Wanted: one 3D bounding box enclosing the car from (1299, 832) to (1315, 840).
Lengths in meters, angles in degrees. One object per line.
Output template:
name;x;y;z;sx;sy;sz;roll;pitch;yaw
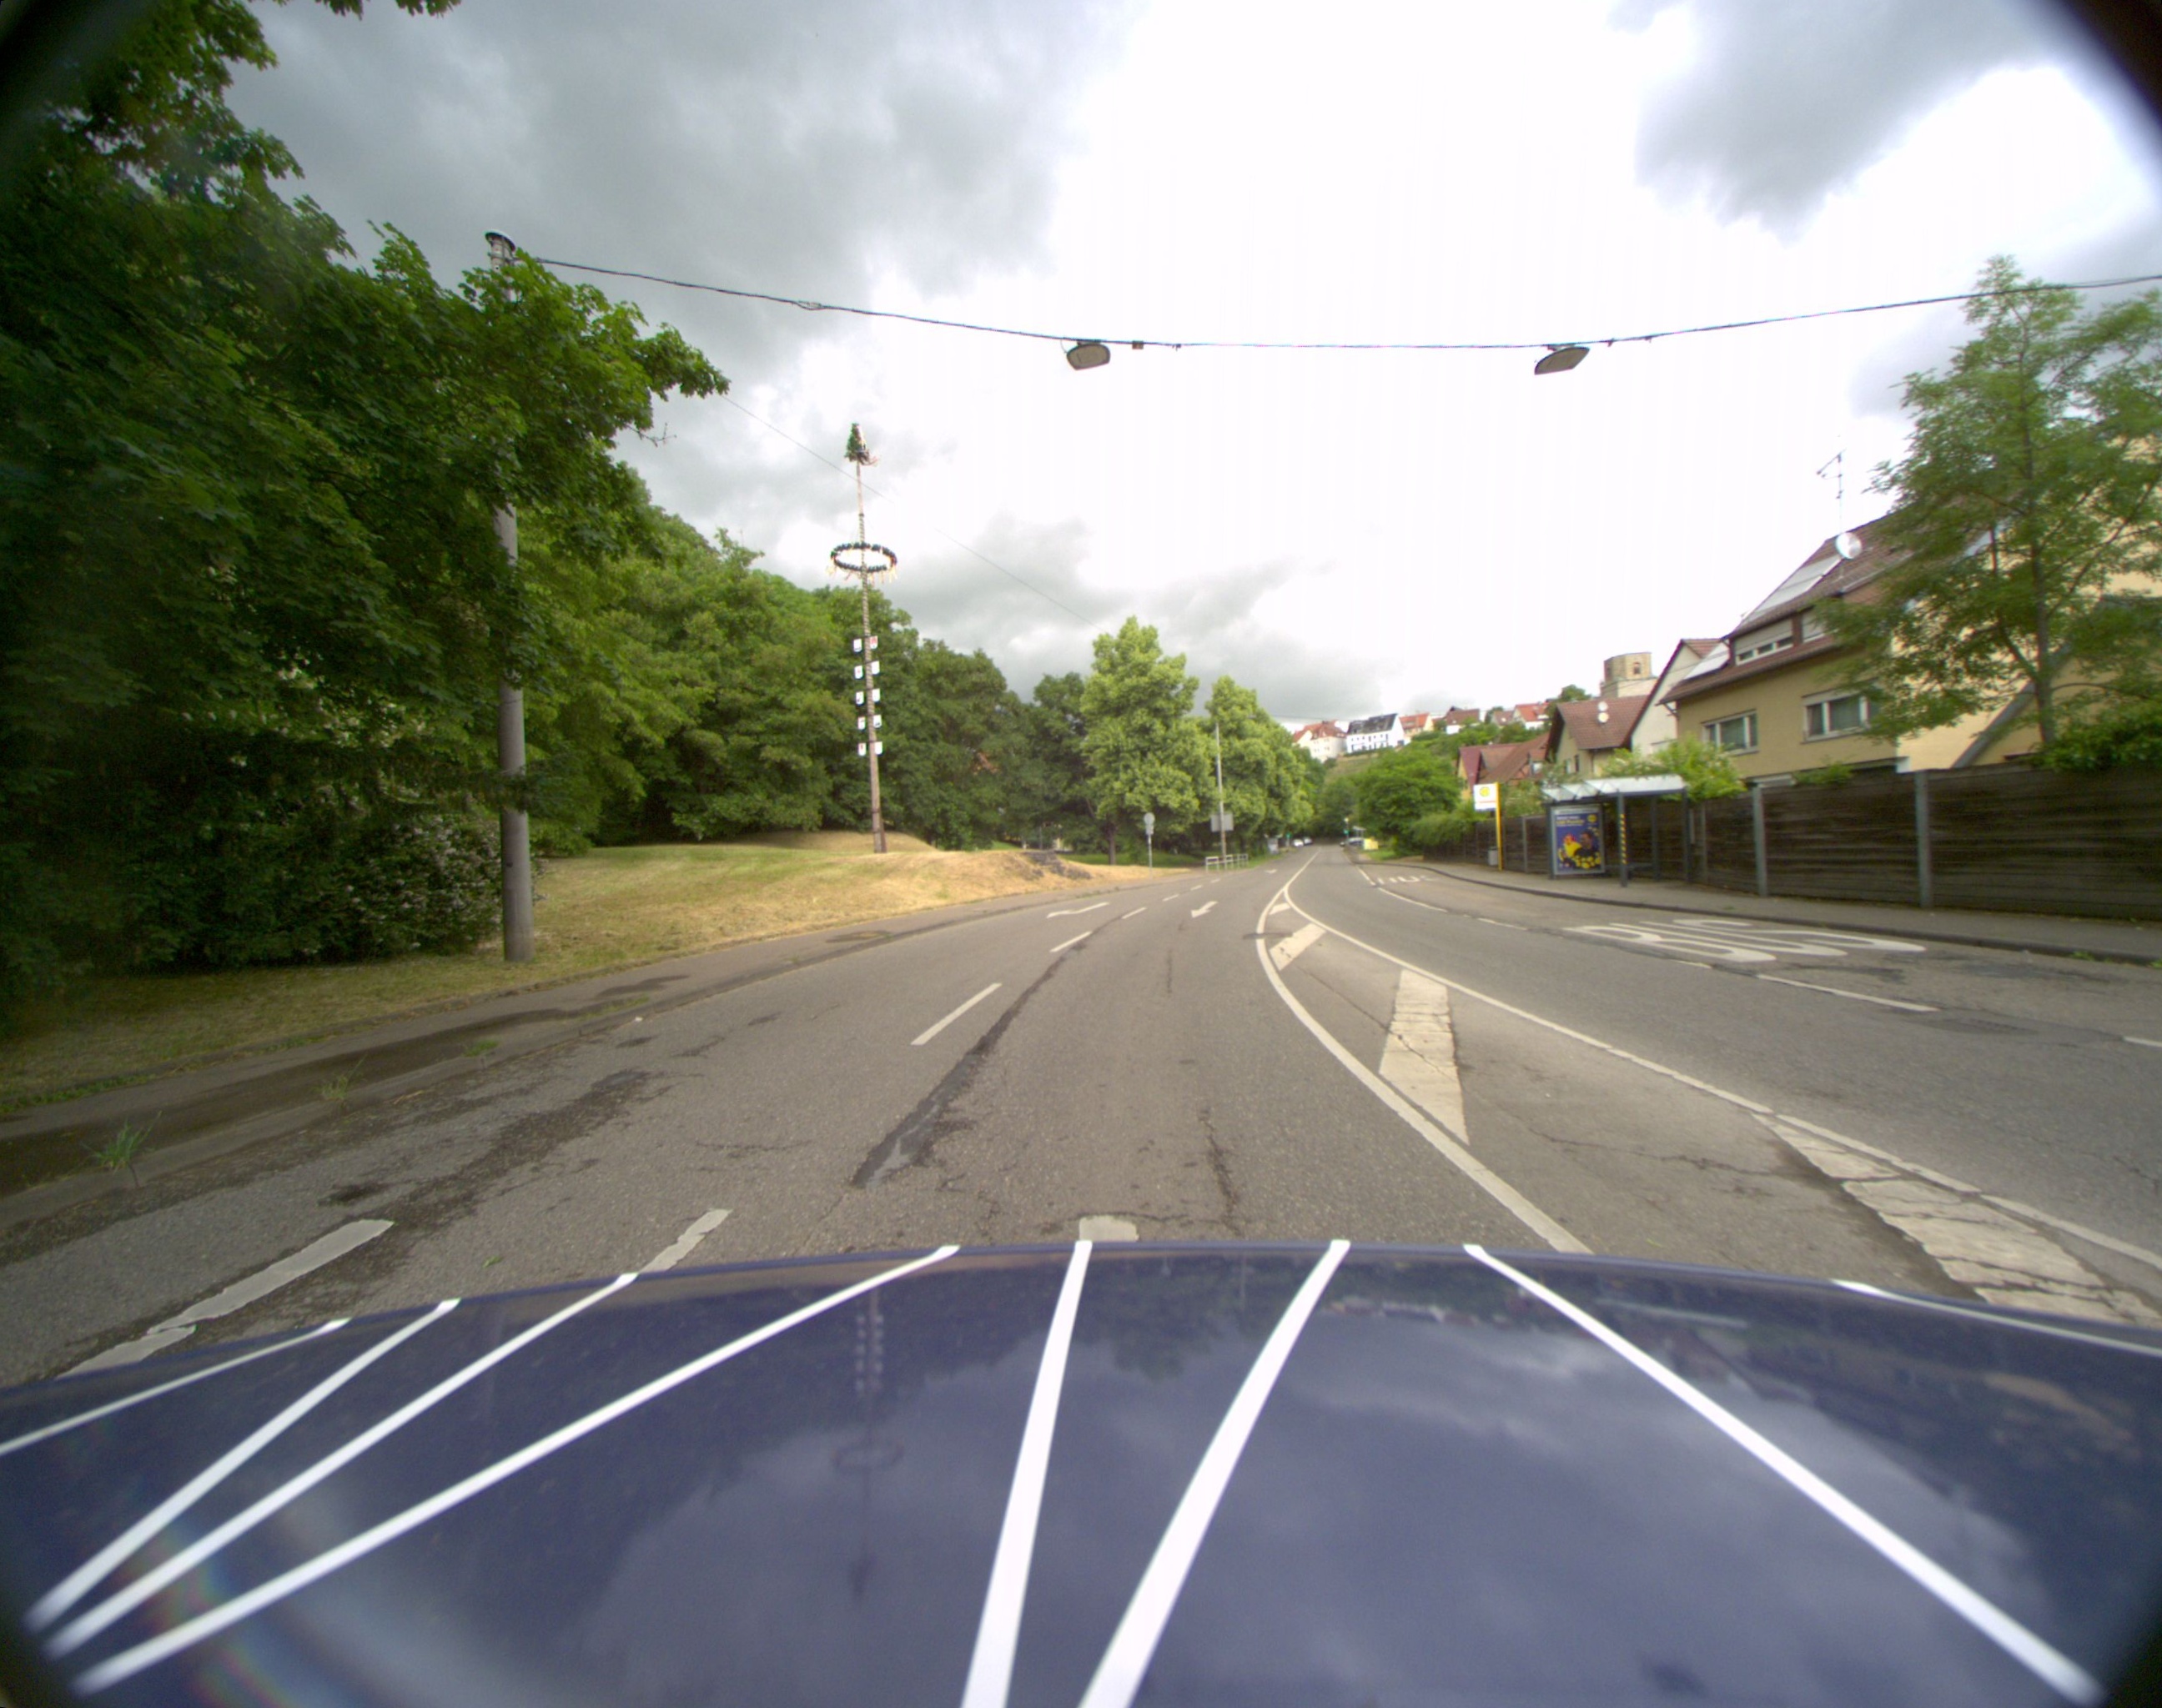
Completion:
car;48.153;-3.823;161.863;1.999;1.608;3.998;-2;1;-4

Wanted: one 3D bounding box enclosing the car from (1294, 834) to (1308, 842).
car;45.290;-3.311;156.359;1.763;1.516;3.683;-2;1;2
